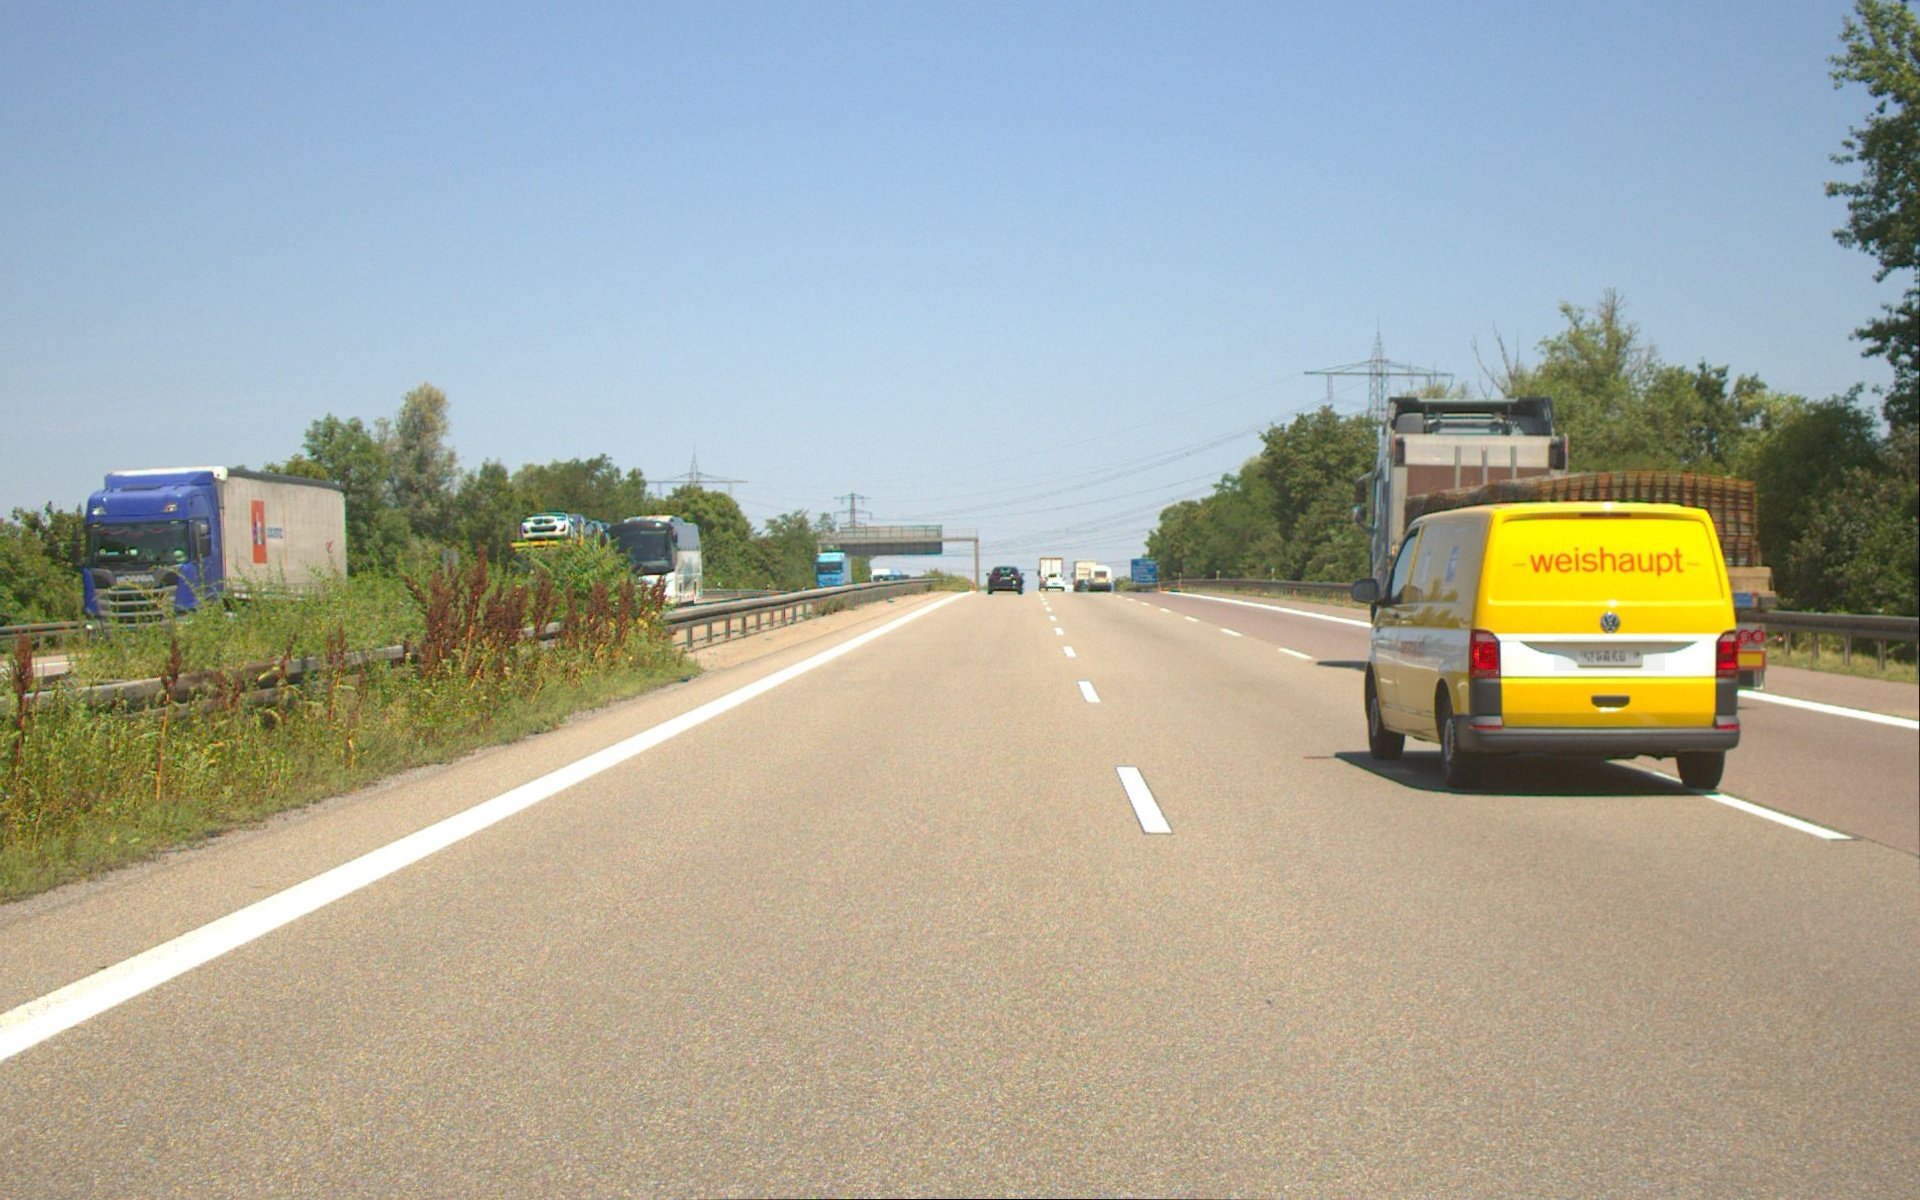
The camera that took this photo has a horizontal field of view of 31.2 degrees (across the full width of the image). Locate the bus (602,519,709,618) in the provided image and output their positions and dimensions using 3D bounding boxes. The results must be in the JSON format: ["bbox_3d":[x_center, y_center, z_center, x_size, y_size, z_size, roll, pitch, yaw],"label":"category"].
[{"bbox_3d":[-11.754,-1.261,133.858,2.694,3.571,12.793,-3,1,1],"label":"bus"}]

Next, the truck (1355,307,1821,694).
[{"bbox_3d":[7.406,-1.046,43.631,2.969,3.944,16.613,1,0,1],"label":"truck"}]

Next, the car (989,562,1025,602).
[{"bbox_3d":[2.438,-0.919,176.458,1.791,2.007,3.887,1,0,2],"label":"car"}]

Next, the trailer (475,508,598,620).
[{"bbox_3d":[-16.013,-1.389,130.846,2.921,3.954,11.651,-2,1,1],"label":"trailer"}]

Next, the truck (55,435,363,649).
[{"bbox_3d":[-17.305,-1.299,81.001,2.955,4.327,17.470,-4,0,1],"label":"truck"}]

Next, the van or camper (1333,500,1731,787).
[{"bbox_3d":[4.105,0.261,25.526,1.993,1.903,4.972,1,1,-1],"label":"van or camper"}]
